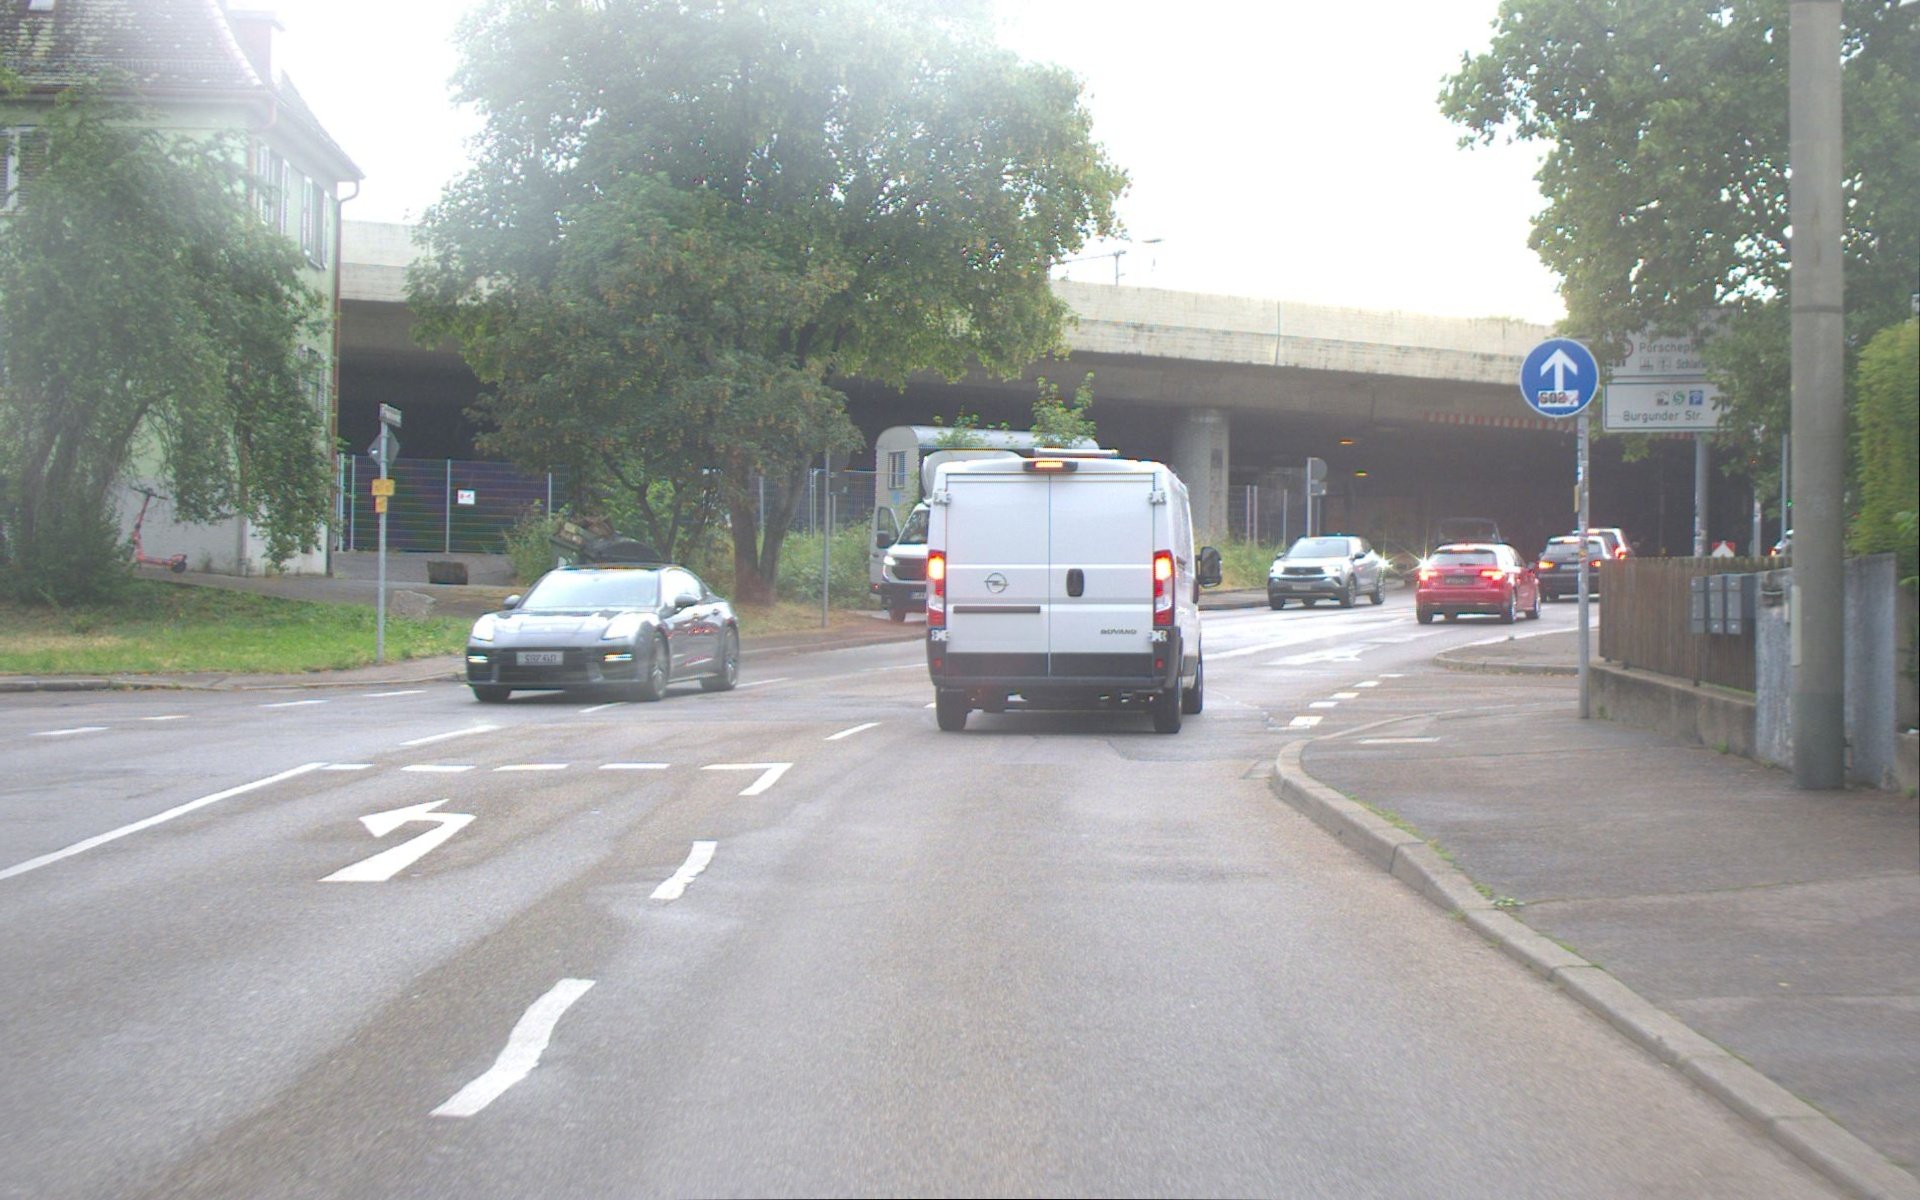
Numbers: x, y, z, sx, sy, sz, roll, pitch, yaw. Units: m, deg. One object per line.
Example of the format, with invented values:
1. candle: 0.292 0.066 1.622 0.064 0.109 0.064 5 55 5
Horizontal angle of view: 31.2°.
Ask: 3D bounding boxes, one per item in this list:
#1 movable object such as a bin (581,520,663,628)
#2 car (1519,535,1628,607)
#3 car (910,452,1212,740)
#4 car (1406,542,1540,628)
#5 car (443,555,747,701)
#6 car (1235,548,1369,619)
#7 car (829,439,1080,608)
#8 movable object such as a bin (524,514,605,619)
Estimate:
1. movable object such as a bin: -5.207 -0.412 53.073 0.940 1.558 1.130 6 1 4
2. car: 13.307 -0.652 74.487 1.767 1.505 3.752 1 1 19
3. car: 0.980 -0.083 29.878 2.147 2.275 5.061 1 1 7
4. car: 9.343 -0.294 62.433 1.767 1.505 3.752 1 1 19
5. car: -3.811 0.289 36.817 1.994 1.451 4.827 0 0 10
6. car: 7.422 -0.345 74.219 1.995 1.451 4.826 0 0 17
7. car: -0.001 -1.435 65.099 2.536 3.008 7.204 1 1 19
8. movable object such as a bin: -6.276 -0.539 54.621 0.940 1.558 1.130 6 1 4
